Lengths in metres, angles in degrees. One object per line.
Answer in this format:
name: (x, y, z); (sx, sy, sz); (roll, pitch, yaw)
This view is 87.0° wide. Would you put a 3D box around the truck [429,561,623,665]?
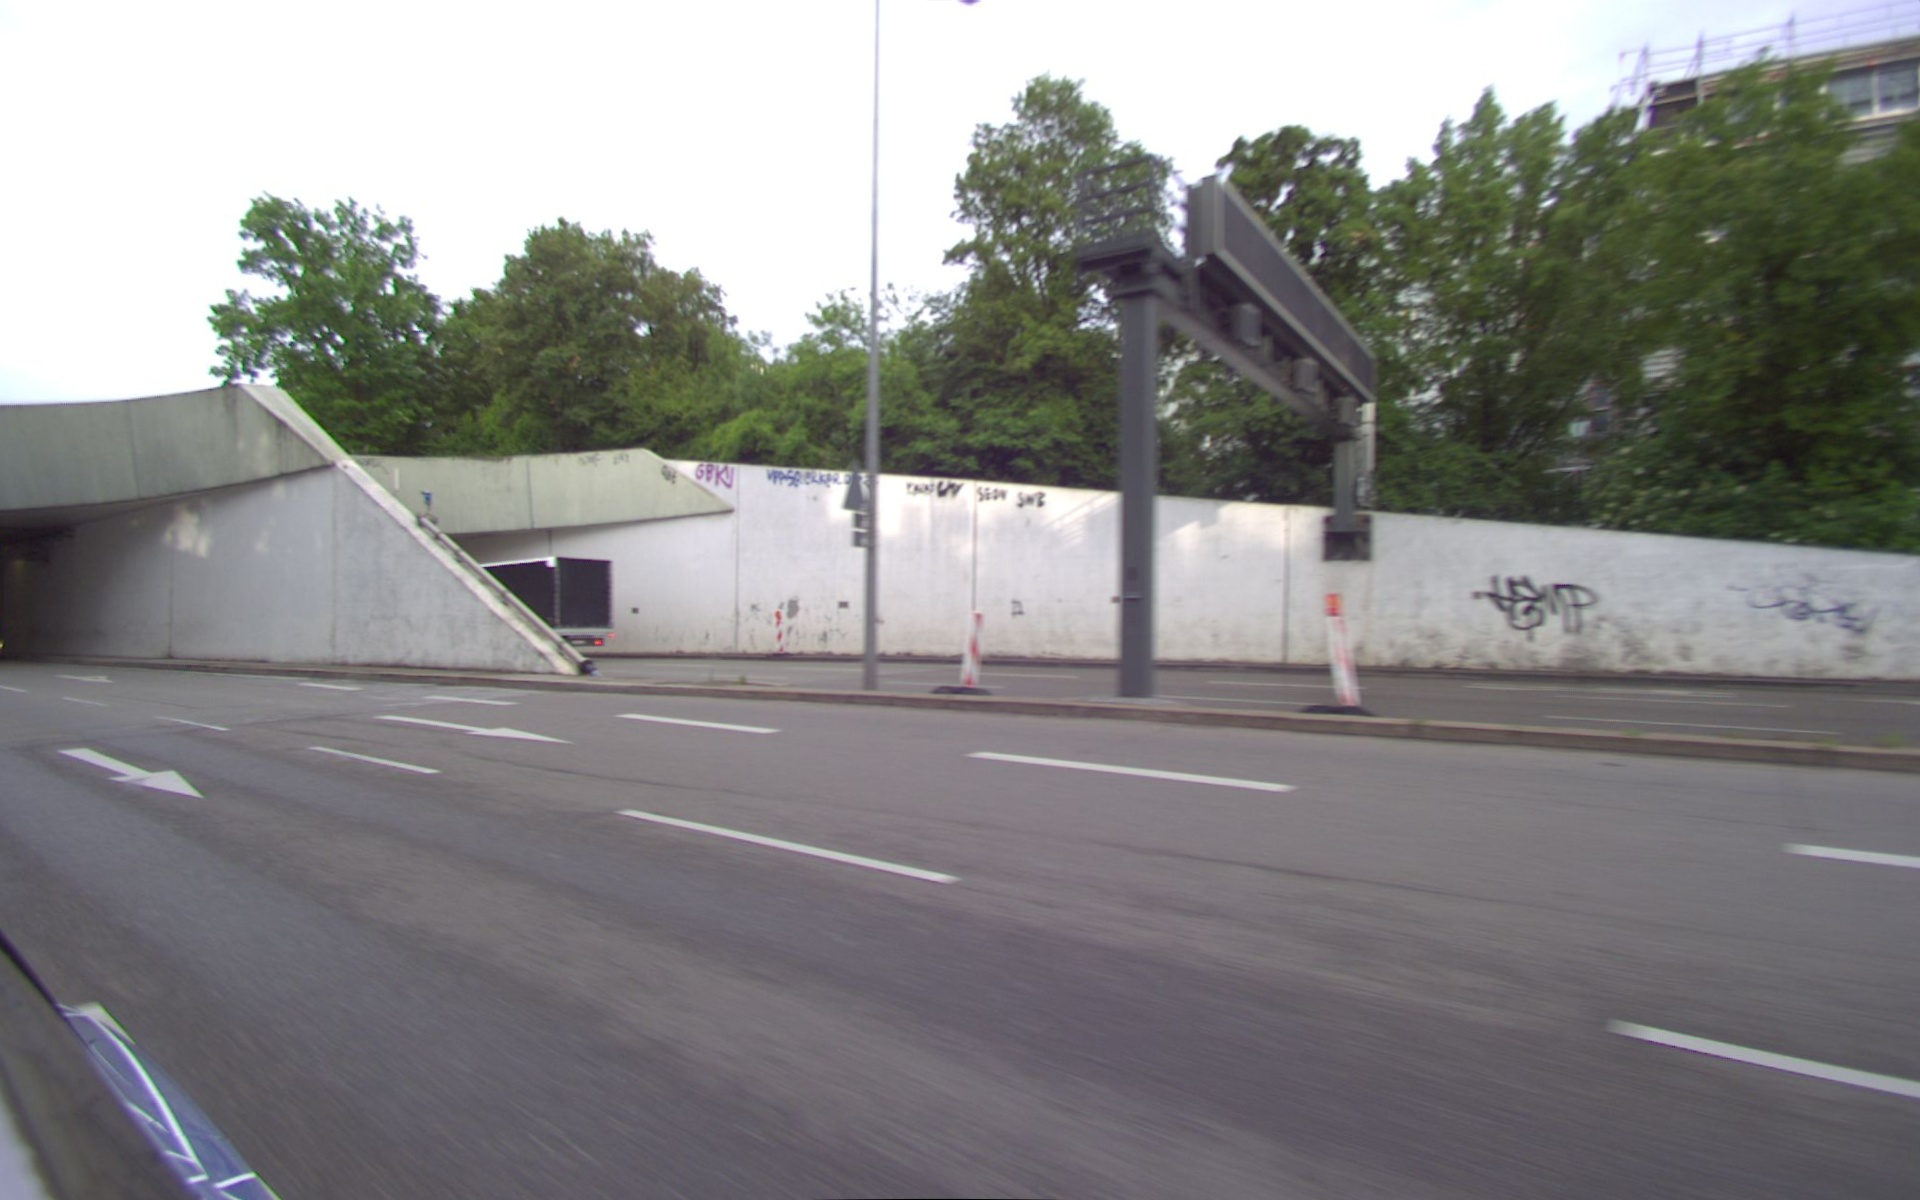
truck: (-15.231, 0.491, 35.329); (7.126, 3.301, 2.775); (-2, -1, 33)
